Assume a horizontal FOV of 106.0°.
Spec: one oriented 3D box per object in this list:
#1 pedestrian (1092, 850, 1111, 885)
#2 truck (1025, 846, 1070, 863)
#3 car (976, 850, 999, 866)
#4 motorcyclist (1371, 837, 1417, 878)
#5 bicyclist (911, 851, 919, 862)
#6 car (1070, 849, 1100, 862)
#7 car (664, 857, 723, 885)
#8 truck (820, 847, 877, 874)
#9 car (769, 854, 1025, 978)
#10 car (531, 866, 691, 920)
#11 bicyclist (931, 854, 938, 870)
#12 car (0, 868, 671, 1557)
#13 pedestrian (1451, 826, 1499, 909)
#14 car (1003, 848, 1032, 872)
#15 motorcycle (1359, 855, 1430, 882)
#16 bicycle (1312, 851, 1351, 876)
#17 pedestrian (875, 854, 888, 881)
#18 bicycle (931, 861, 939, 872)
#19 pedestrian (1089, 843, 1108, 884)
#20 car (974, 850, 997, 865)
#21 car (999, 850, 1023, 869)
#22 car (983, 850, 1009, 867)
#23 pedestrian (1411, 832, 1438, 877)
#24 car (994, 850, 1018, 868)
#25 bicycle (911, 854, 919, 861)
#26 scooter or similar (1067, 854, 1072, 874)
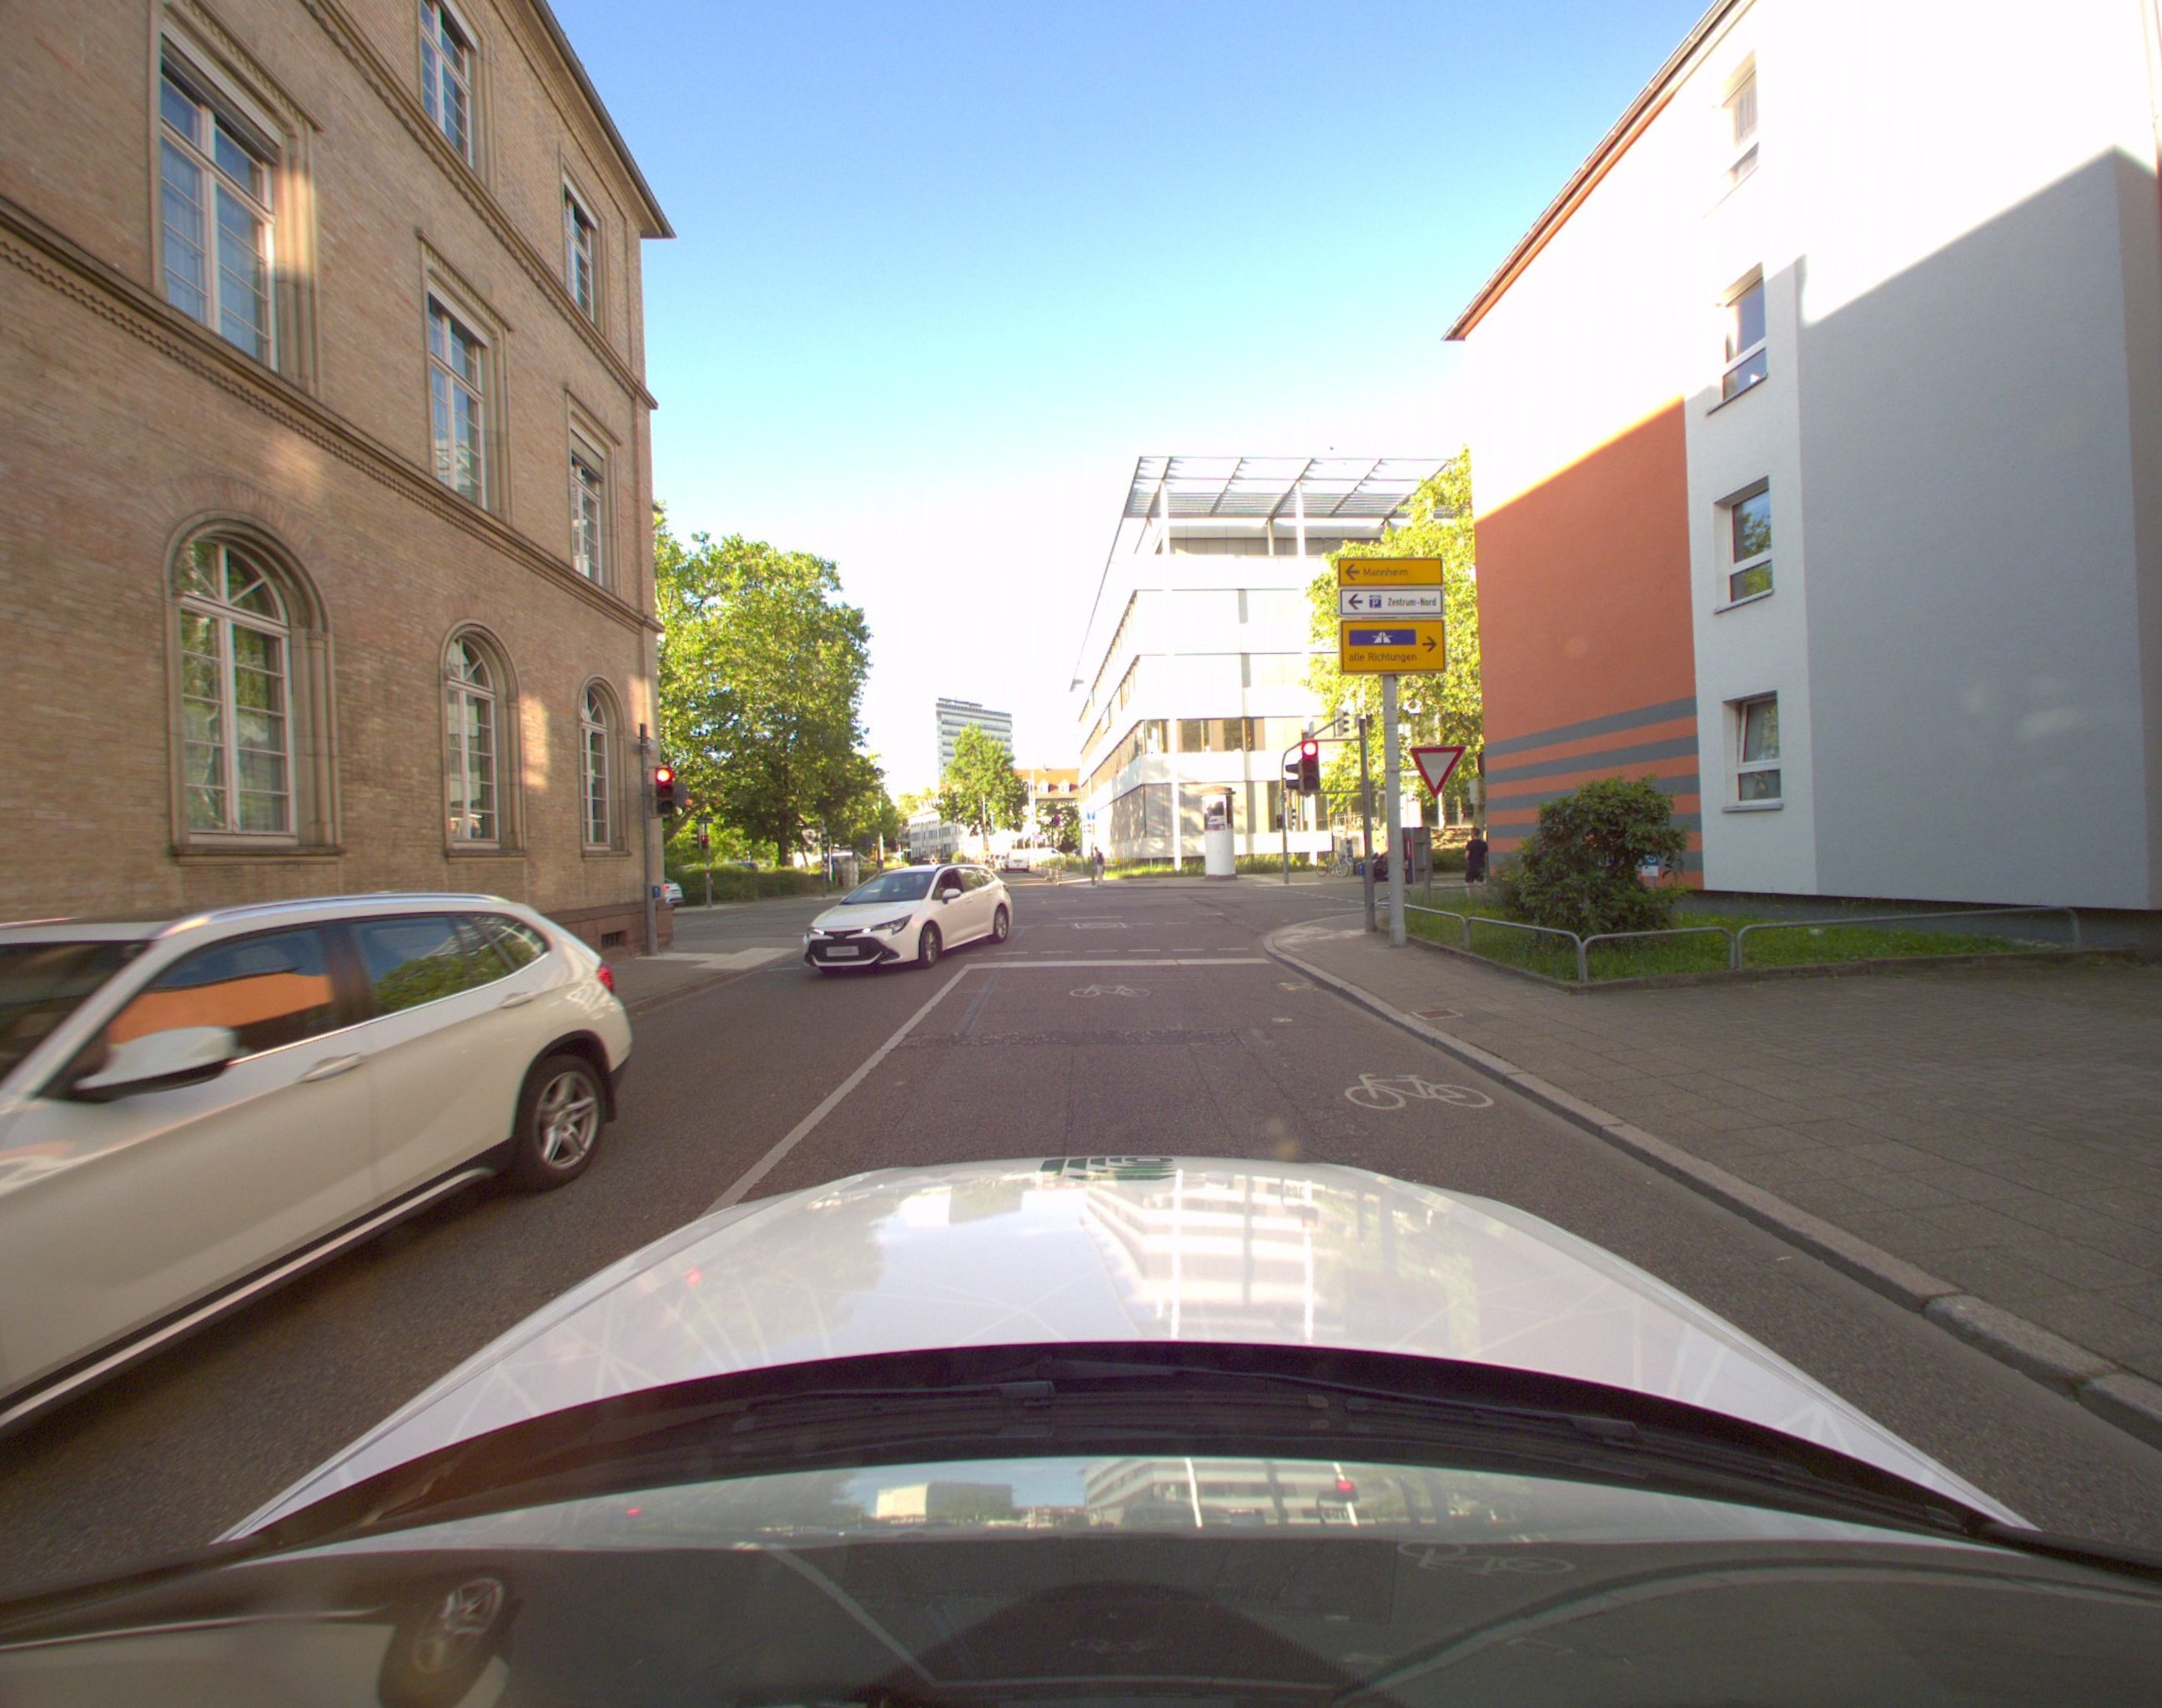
[{"bbox_3d":[0.922,0.600,37.333,0.561,1.540,0.673,-5,1,-16],"label":"pedestrian"},{"bbox_3d":[-4.250,0.059,103.370,5.351,2.013,1.988,-2,0,-17],"label":"truck"},{"bbox_3d":[-10.489,0.472,91.145,1.893,1.655,4.390,-2,1,-16],"label":"car"},{"bbox_3d":[11.431,0.125,29.795,1.293,1.419,0.818,-2,0,-9],"label":"motorcyclist"},{"bbox_3d":[-23.805,0.409,116.685,0.865,1.515,1.016,-5,0,-9],"label":"bicyclist"},{"bbox_3d":[0.502,0.159,104.441,3.563,1.546,1.549,-2,0,-17],"label":"car"},{"bbox_3d":[-37.172,1.626,78.127,4.551,2.391,2.069,-3,0,-7],"label":"car"},{"bbox_3d":[-21.613,0.587,75.838,4.825,2.399,2.082,-2,0,-8],"label":"truck"},{"bbox_3d":[-2.655,0.848,13.079,1.872,1.476,4.566,-4,0,17],"label":"car"},{"bbox_3d":[-16.025,1.296,27.973,4.314,1.575,1.821,-2,0,-6],"label":"car"},{"bbox_3d":[-14.063,0.745,78.205,0.615,1.532,0.901,-3,0,-7],"label":"bicyclist"},{"bbox_3d":[-3.455,0.948,2.867,1.679,1.582,4.275,-4,0,1],"label":"car"},{"bbox_3d":[8.999,0.300,18.632,0.704,1.840,0.837,0,0,1],"label":"pedestrian"},{"bbox_3d":[-5.099,0.443,64.986,2.084,1.795,4.403,-2,1,-8],"label":"car"},{"bbox_3d":[11.466,0.515,29.791,2.297,0.888,0.818,-2,0,-9],"label":"motorcycle"},{"bbox_3d":[11.027,0.410,35.923,0.510,1.049,1.670,-4,3,-33],"label":"bicycle"},{"bbox_3d":[-13.387,0.907,54.627,0.704,1.723,0.950,-3,0,-14],"label":"pedestrian"},{"bbox_3d":[-14.042,1.219,78.191,0.615,0.969,1.837,-3,0,-7],"label":"bicycle"},{"bbox_3d":[0.830,0.442,37.942,0.555,1.850,0.680,-5,1,18],"label":"pedestrian"},{"bbox_3d":[-11.280,0.419,95.973,1.893,1.655,4.390,-2,1,-16],"label":"car"},{"bbox_3d":[-6.337,0.496,73.280,1.887,1.555,4.403,-2,1,-8],"label":"car"},{"bbox_3d":[-9.030,0.427,85.975,1.893,1.655,4.390,-2,1,-16],"label":"car"},{"bbox_3d":[14.398,0.008,34.142,0.831,1.840,0.710,0,0,4],"label":"pedestrian"},{"bbox_3d":[-7.272,0.471,78.678,1.889,1.555,4.398,-2,1,-11],"label":"car"},{"bbox_3d":[-23.807,0.503,116.669,0.865,1.009,2.407,-5,0,-9],"label":"bicycle"},{"bbox_3d":[-0.830,0.750,58.757,0.329,1.424,1.333,0,-1,-4],"label":"scooter or similar"}]
